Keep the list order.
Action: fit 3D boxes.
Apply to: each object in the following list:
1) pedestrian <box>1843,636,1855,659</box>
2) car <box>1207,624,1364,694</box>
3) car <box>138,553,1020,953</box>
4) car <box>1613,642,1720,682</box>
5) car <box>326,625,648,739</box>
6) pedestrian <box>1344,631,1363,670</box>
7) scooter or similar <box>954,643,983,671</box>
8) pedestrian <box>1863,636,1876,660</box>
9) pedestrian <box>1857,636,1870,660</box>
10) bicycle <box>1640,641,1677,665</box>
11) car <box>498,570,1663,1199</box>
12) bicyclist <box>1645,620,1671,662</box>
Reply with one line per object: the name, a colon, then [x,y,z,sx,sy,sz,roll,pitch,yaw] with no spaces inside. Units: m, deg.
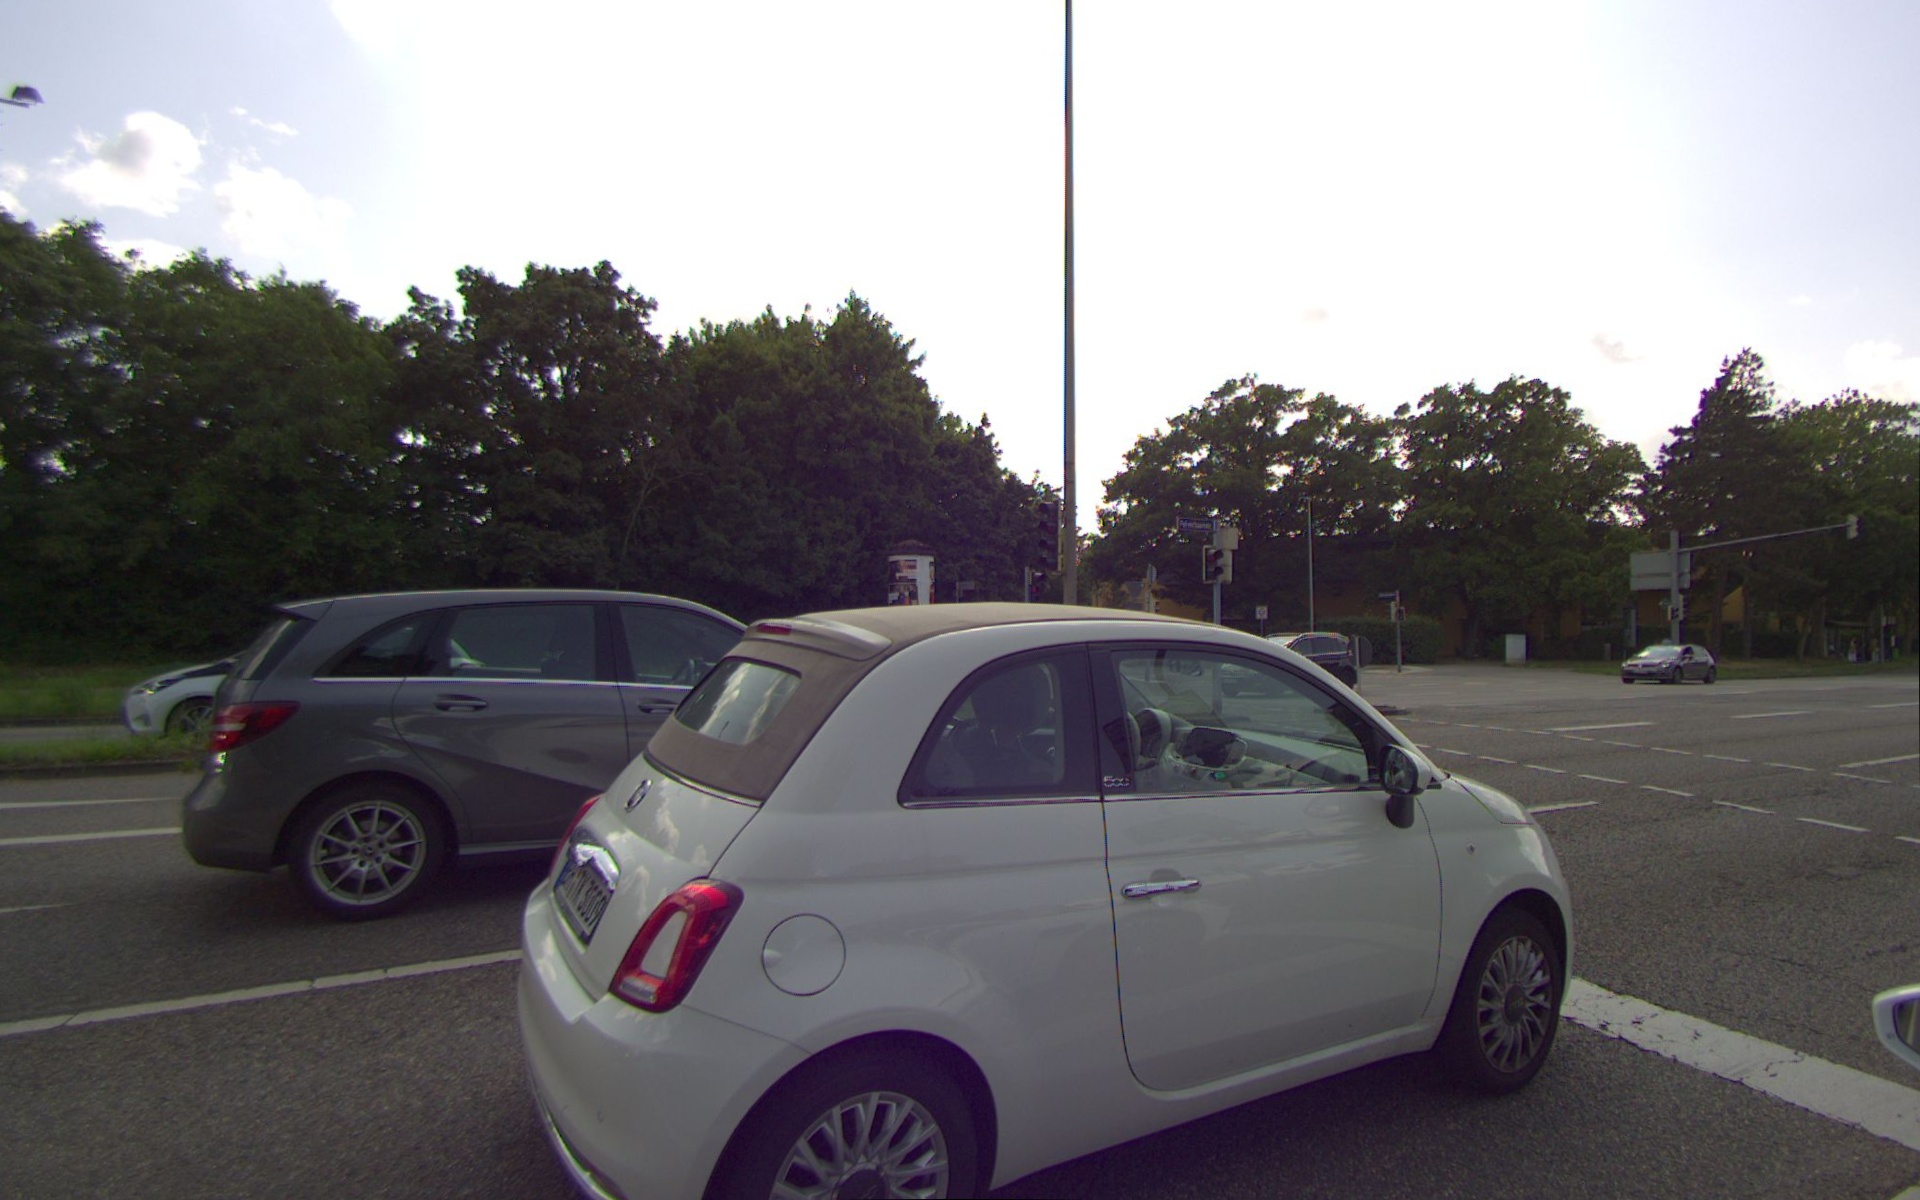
pedestrian: [58.730,3.134,66.366,0.564,1.515,0.418,2,0,45]
car: [8.901,1.596,27.364,4.260,1.764,1.663,2,-2,-31]
car: [-1.910,0.712,5.960,4.309,1.640,1.690,2,-2,-31]
car: [25.953,2.257,36.895,4.031,1.390,1.588,1,-2,-28]
car: [-6.238,1.070,13.435,3.650,1.325,1.745,2,-4,-30]
pedestrian: [17.945,2.296,45.789,0.678,1.764,0.705,0,-2,12]
scooter or similar: [0.307,2.052,36.157,1.022,0.954,0.295,2,0,-24]
pedestrian: [58.926,3.126,65.059,0.564,1.515,0.418,2,0,45]
pedestrian: [59.387,3.153,66.027,0.564,1.515,0.418,2,0,45]
bicycle: [34.560,2.605,49.690,2.091,1.133,0.751,2,-2,-33]
car: [0.516,0.765,3.254,3.499,1.517,1.562,2,-1,-31]
bicyclist: [34.541,2.013,49.697,0.822,2.040,0.747,1,-2,-32]
